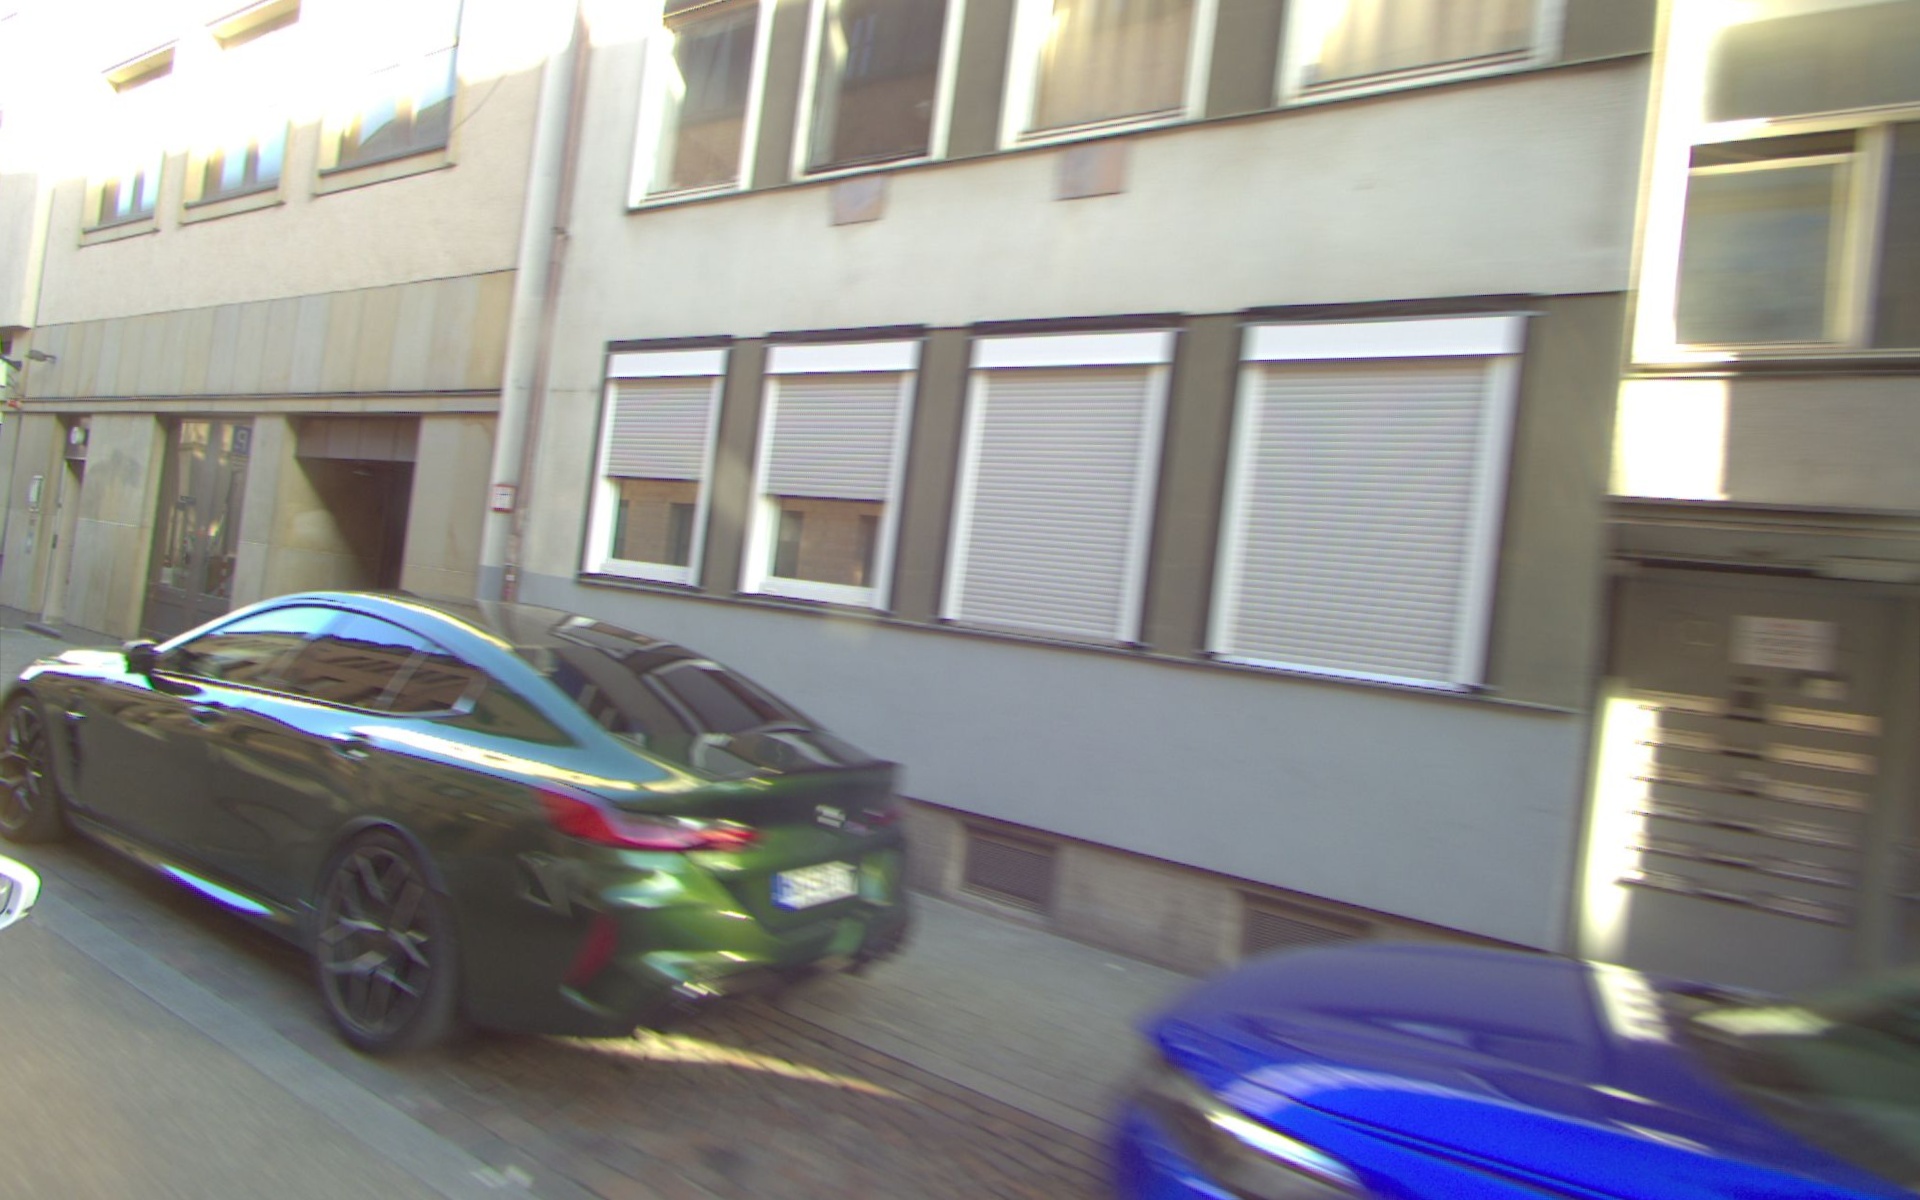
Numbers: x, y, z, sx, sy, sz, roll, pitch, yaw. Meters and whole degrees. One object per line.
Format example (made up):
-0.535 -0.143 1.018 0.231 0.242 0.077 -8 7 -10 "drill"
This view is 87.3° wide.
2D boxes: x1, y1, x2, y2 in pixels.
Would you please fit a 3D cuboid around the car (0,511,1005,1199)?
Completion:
-2.570 0.611 4.601 5.138 1.469 1.899 7 -3 31 "car"

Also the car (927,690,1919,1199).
2.426 1.233 1.457 4.709 1.427 1.813 7 -4 31 "car"
